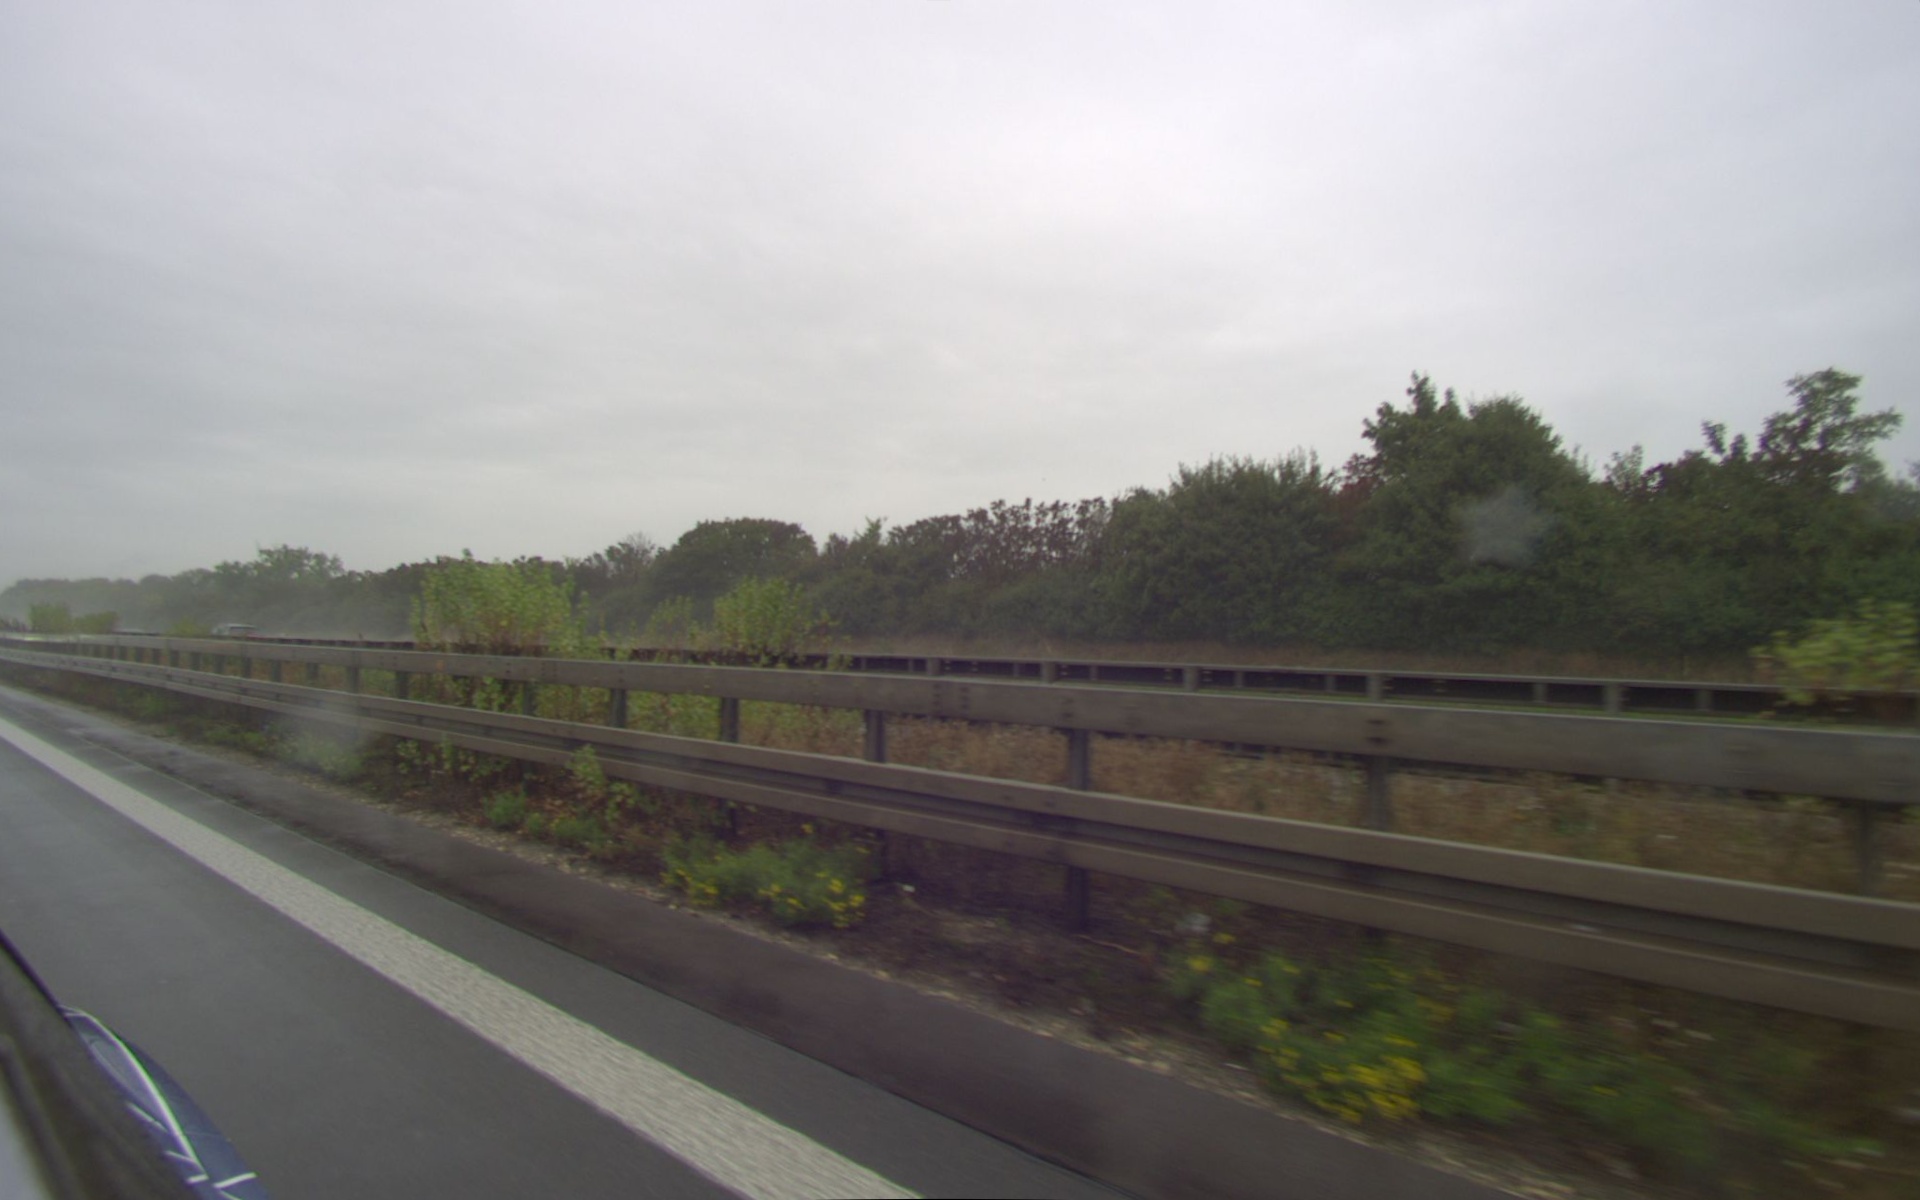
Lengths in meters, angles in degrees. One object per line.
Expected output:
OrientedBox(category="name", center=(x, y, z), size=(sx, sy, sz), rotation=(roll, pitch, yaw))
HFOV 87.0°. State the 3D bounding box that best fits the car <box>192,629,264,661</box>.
OrientedBox(category="car", center=(-37.307, 2.279, 51.550), size=(4.932, 1.524, 1.908), rotation=(-2, -1, 41))
